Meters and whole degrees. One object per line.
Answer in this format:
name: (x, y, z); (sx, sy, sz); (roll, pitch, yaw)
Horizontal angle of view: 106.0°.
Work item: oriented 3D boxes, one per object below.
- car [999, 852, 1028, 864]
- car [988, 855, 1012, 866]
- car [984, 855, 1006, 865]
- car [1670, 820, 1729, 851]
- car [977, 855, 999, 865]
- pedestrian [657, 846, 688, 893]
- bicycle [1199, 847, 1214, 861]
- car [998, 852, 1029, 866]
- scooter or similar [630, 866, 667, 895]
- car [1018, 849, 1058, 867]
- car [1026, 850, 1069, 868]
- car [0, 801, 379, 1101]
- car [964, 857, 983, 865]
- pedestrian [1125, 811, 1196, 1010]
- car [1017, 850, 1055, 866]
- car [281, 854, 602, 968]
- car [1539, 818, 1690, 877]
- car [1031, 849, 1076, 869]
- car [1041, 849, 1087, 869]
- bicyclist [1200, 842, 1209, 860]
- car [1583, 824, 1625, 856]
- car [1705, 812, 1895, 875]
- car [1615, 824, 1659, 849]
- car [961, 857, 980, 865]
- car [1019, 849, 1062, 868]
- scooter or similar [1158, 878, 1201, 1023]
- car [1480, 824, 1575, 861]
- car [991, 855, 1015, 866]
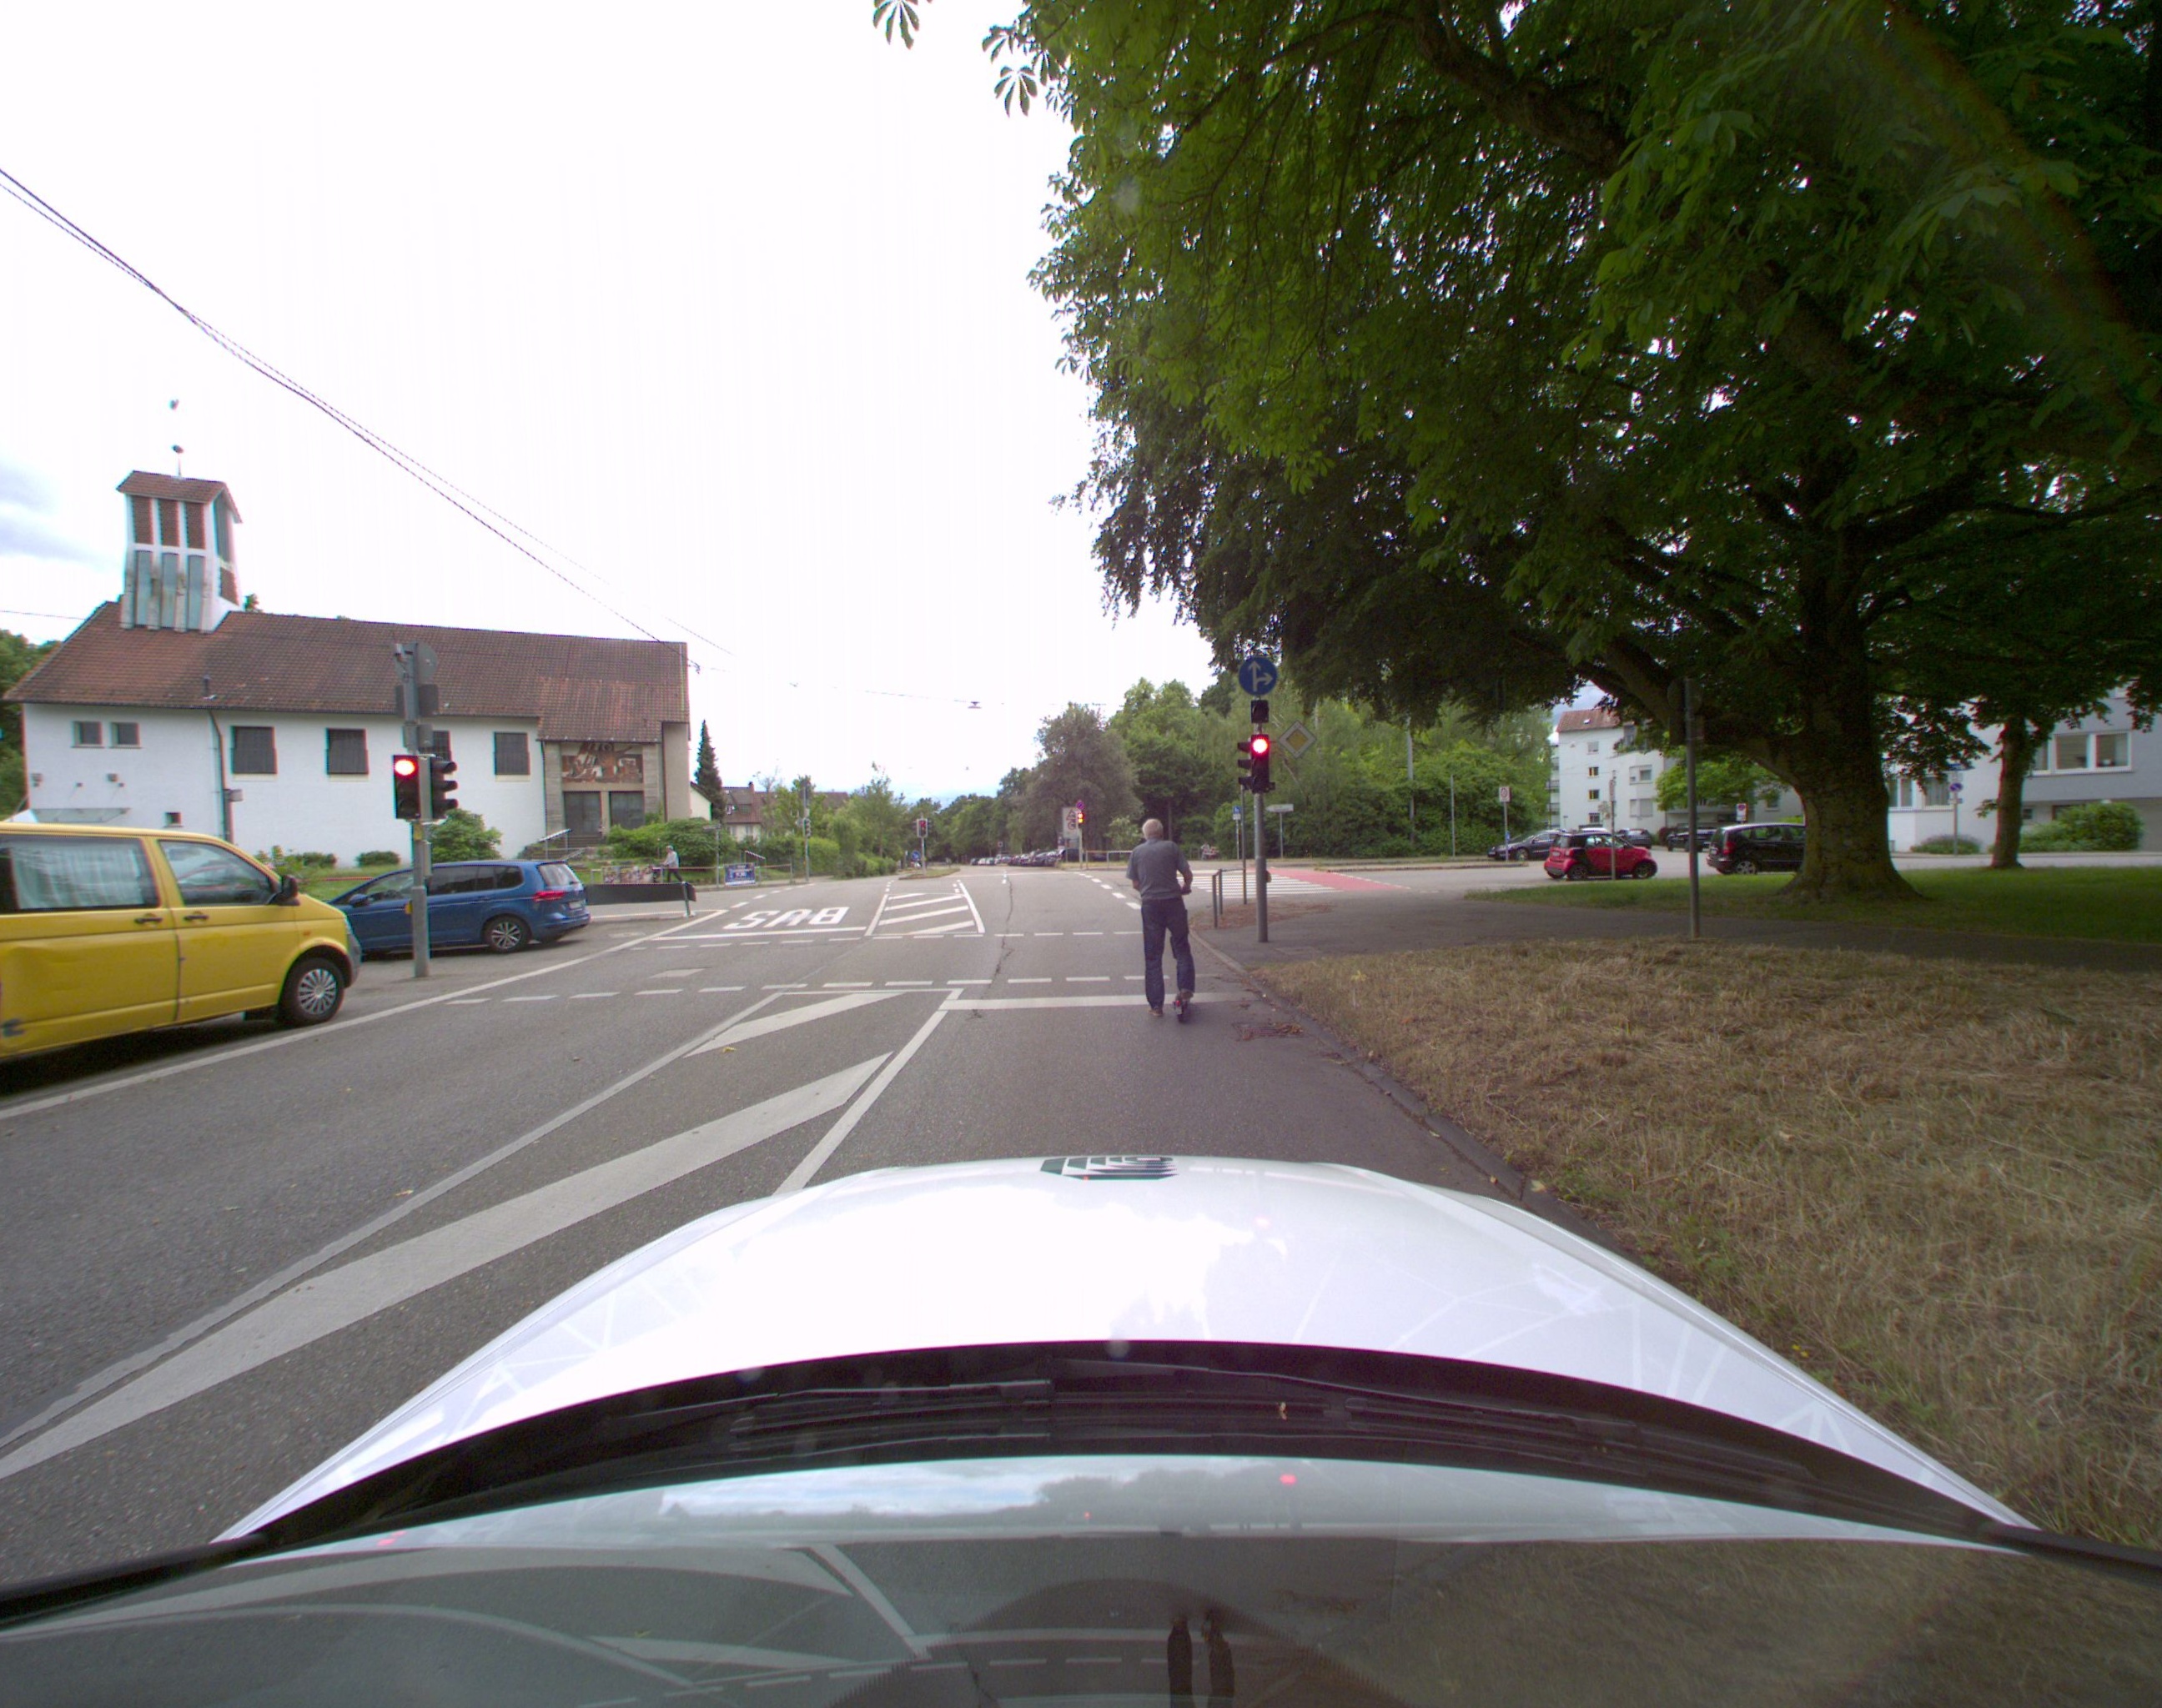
car: (-10.127, 0.645, 122.357); (3.856, 1.610, 1.716); (-3, 0, -21)
car: (-14.332, 1.156, 143.342); (3.856, 1.610, 1.716); (-3, 0, -21)
car: (-16.349, 1.186, 154.703); (3.856, 1.610, 1.716); (-3, 0, -21)
car: (35.569, -1.068, 46.932); (1.707, 1.610, 3.875); (-3, 1, 22)
car: (-18.153, 1.155, 159.454); (3.856, 1.610, 1.716); (-3, 0, -21)
pedestrian: (-16.589, 0.612, 33.097); (0.567, 1.862, 0.892); (-2, 0, 34)
bicycle: (8.745, -0.020, 56.679); (0.488, 0.959, 1.937); (0, 0, 26)
car: (-9.053, 0.691, 109.353); (3.856, 1.610, 1.716); (-3, 0, -21)
scooter or similar: (-17.136, 1.027, 32.262); (0.570, 1.081, 1.118); (-2, 0, 33)
car: (-4.600, 0.433, 86.956); (3.856, 1.610, 1.716); (-3, 0, -21)
car: (-3.278, 0.480, 79.570); (3.856, 1.610, 1.716); (-3, 0, -21)
car: (-8.297, 0.684, 6.343); (1.880, 2.013, 4.558); (-2, 0, -5)
car: (-23.322, 1.464, 176.448); (3.856, 1.610, 1.716); (-3, 0, -21)
pedestrian: (0.757, 0.521, 7.678); (0.569, 1.813, 0.421); (-2, 0, 10)
car: (-4.933, 0.439, 89.378); (3.856, 1.610, 1.716); (-3, 0, -21)
car: (-11.062, 0.918, 14.428); (3.992, 1.610, 1.810); (-3, 0, -14)
car: (16.527, -0.207, 25.363); (3.499, 1.610, 1.732); (-3, 0, 7)
car: (-2.591, 0.469, 77.010); (3.857, 1.610, 1.715); (-3, 0, -22)
car: (-1.581, 0.441, 75.014); (3.854, 1.610, 1.717); (-3, 0, -19)
bicyclist: (8.531, -0.182, 56.235); (0.488, 1.248, 0.682); (0, -1, 26)
car: (28.787, -0.787, 44.898); (1.706, 1.610, 3.878); (-3, 1, 30)
car: (20.834, -0.296, 23.806); (3.805, 1.610, 1.739); (-3, 1, 27)
car: (38.955, -1.275, 57.143); (1.707, 1.610, 3.875); (-3, 1, 22)
car: (-24.236, 1.555, 178.809); (3.856, 1.610, 1.716); (-3, 0, -21)
car: (-4.049, 0.455, 81.625); (3.856, 1.610, 1.716); (-3, 0, -21)
scooter or similar: (0.921, 0.841, 7.498); (0.280, 1.178, 1.180); (-2, 0, 10)
car: (21.112, -0.559, 38.607); (3.498, 1.530, 1.732); (-3, 0, 8)
car: (-13.393, 1.147, 139.642); (3.856, 1.610, 1.716); (-3, 0, -21)
